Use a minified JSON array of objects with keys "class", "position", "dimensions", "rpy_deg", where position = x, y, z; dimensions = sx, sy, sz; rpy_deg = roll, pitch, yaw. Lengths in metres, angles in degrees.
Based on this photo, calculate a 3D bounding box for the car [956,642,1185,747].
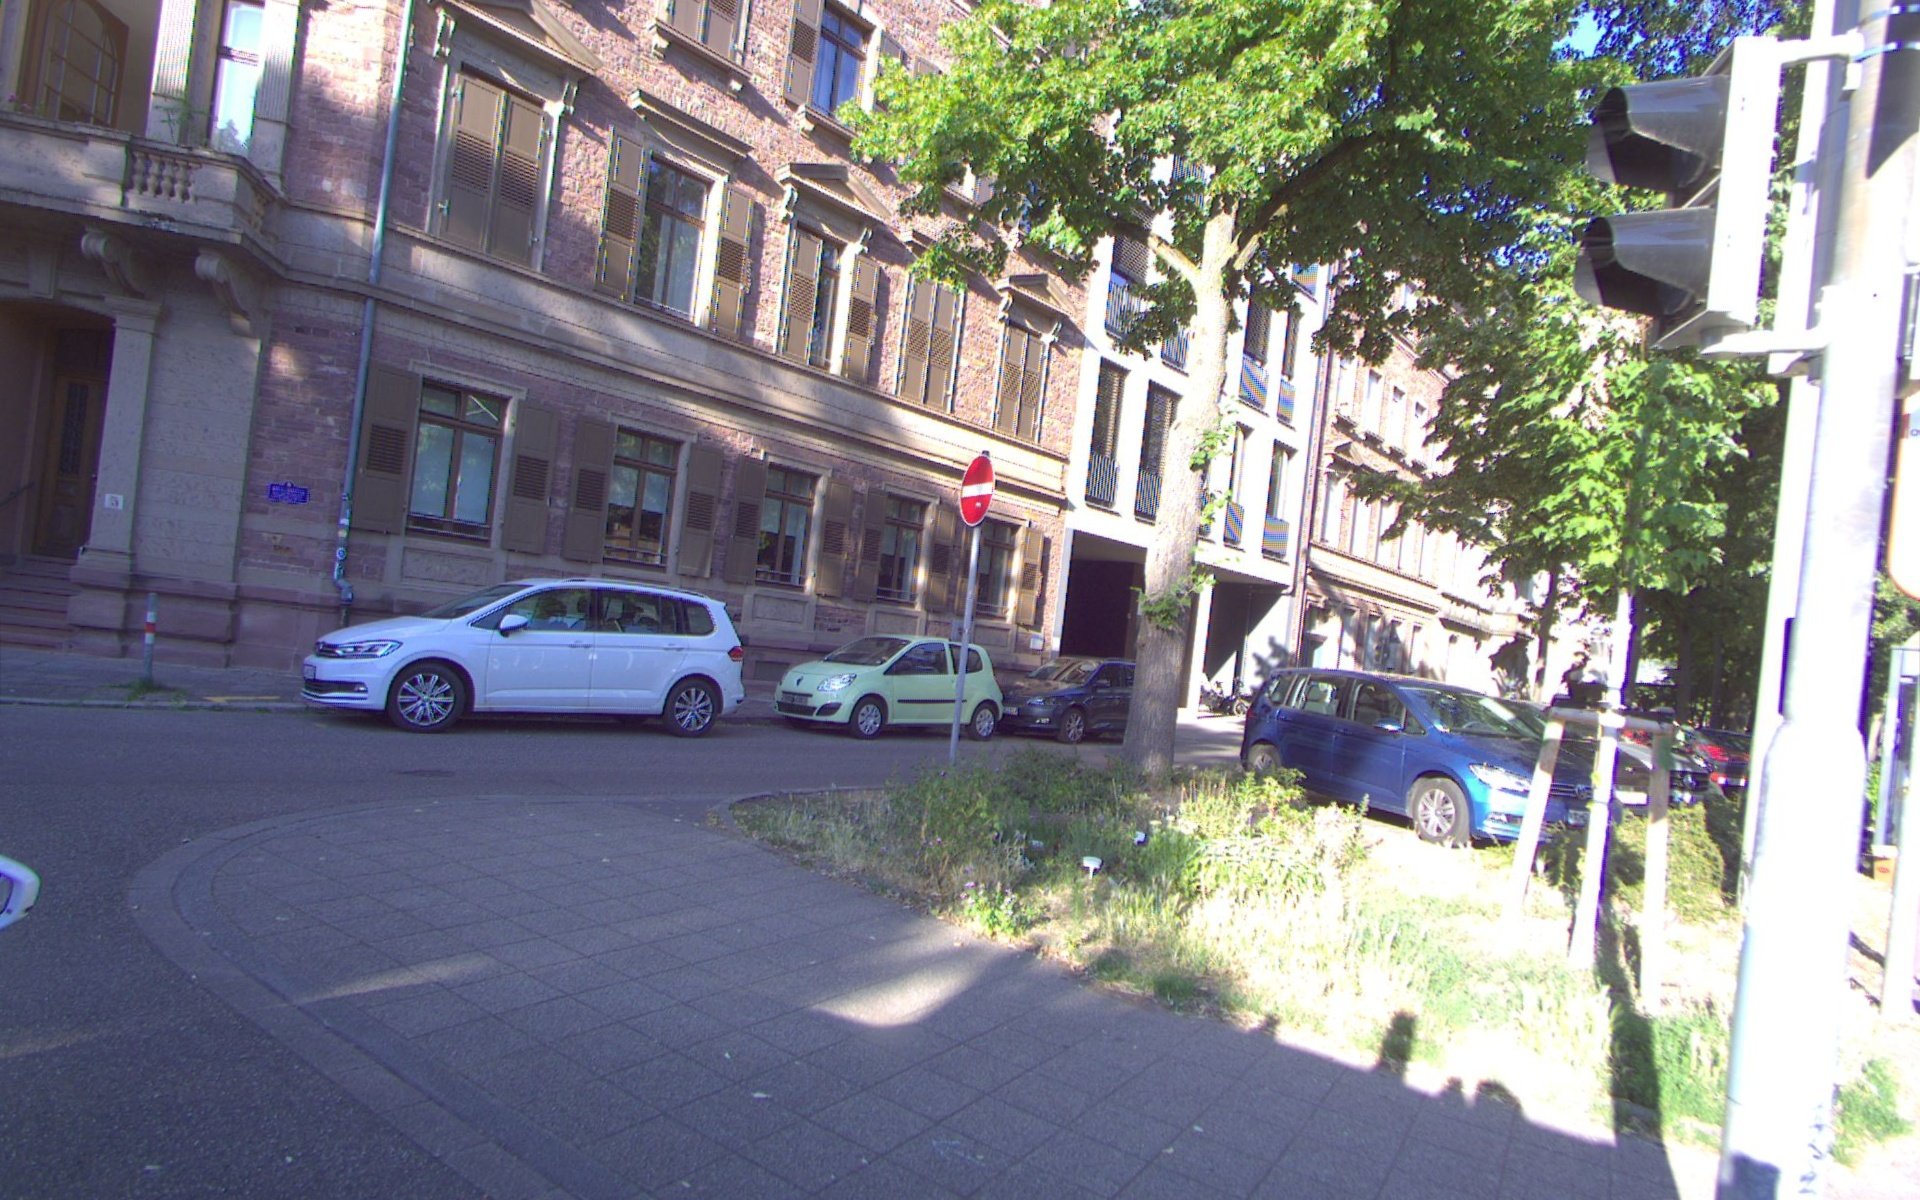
[{"class":"car","position":[2.051,1.716,17.788],"dimensions":[4.140,1.506,1.721],"rpy_deg":[9,-4,-44]}]

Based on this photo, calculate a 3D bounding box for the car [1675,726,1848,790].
[{"class":"car","position":[26.923,5.286,33.980],"dimensions":[1.781,1.294,4.270],"rpy_deg":[8,-1,-14]}]

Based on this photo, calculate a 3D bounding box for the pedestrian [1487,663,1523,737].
[{"class":"pedestrian","position":[22.809,4.176,42.132],"dimensions":[0.908,2.983,0.697],"rpy_deg":[7,0,42]}]

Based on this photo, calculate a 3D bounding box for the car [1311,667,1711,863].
[{"class":"car","position":[6.921,1.997,13.334],"dimensions":[1.900,1.654,4.539],"rpy_deg":[8,-1,-15]}]

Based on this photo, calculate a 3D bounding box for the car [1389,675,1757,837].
[{"class":"car","position":[8.862,2.191,15.121],"dimensions":[1.900,1.505,4.539],"rpy_deg":[8,-1,-15]}]

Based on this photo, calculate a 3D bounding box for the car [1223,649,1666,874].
[{"class":"car","position":[4.929,1.569,11.060],"dimensions":[1.716,1.706,4.406],"rpy_deg":[7,-3,-17]}]

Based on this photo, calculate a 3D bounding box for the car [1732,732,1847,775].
[{"class":"car","position":[40.433,7.461,49.171],"dimensions":[1.722,1.294,3.988],"rpy_deg":[8,-1,-15]}]

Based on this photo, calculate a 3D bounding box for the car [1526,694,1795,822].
[{"class":"car","position":[14.160,3.120,20.745],"dimensions":[1.896,1.742,4.549],"rpy_deg":[8,-1,-6]}]

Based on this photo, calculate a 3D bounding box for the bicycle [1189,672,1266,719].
[{"class":"bicycle","position":[7.926,2.832,29.803],"dimensions":[2.066,1.130,0.680],"rpy_deg":[8,-1,-18]}]

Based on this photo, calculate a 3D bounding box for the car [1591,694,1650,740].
[{"class":"car","position":[37.079,6.583,56.428],"dimensions":[1.972,2.198,4.592],"rpy_deg":[7,-1,42]}]

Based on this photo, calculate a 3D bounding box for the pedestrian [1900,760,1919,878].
[{"class":"pedestrian","position":[11.252,2.522,11.352],"dimensions":[0.871,1.288,0.814],"rpy_deg":[7,-1,-44]}]

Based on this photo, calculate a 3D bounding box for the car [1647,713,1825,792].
[{"class":"car","position":[24.840,4.836,32.410],"dimensions":[1.780,1.715,4.273],"rpy_deg":[8,-1,-12]}]

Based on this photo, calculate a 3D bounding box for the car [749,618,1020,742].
[{"class":"car","position":[-1.014,1.223,14.831],"dimensions":[1.720,1.506,3.706],"rpy_deg":[3,-4,44]}]

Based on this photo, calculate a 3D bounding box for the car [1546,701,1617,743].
[{"class":"car","position":[29.501,5.808,47.708],"dimensions":[1.972,1.586,4.592],"rpy_deg":[7,-1,42]}]

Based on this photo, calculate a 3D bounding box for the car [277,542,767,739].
[{"class":"car","position":[-4.585,0.547,11.058],"dimensions":[4.473,1.668,1.852],"rpy_deg":[9,-4,-45]}]

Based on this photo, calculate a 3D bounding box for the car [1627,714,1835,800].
[{"class":"car","position":[20.958,4.226,27.599],"dimensions":[1.780,1.505,4.273],"rpy_deg":[8,-1,-12]}]
